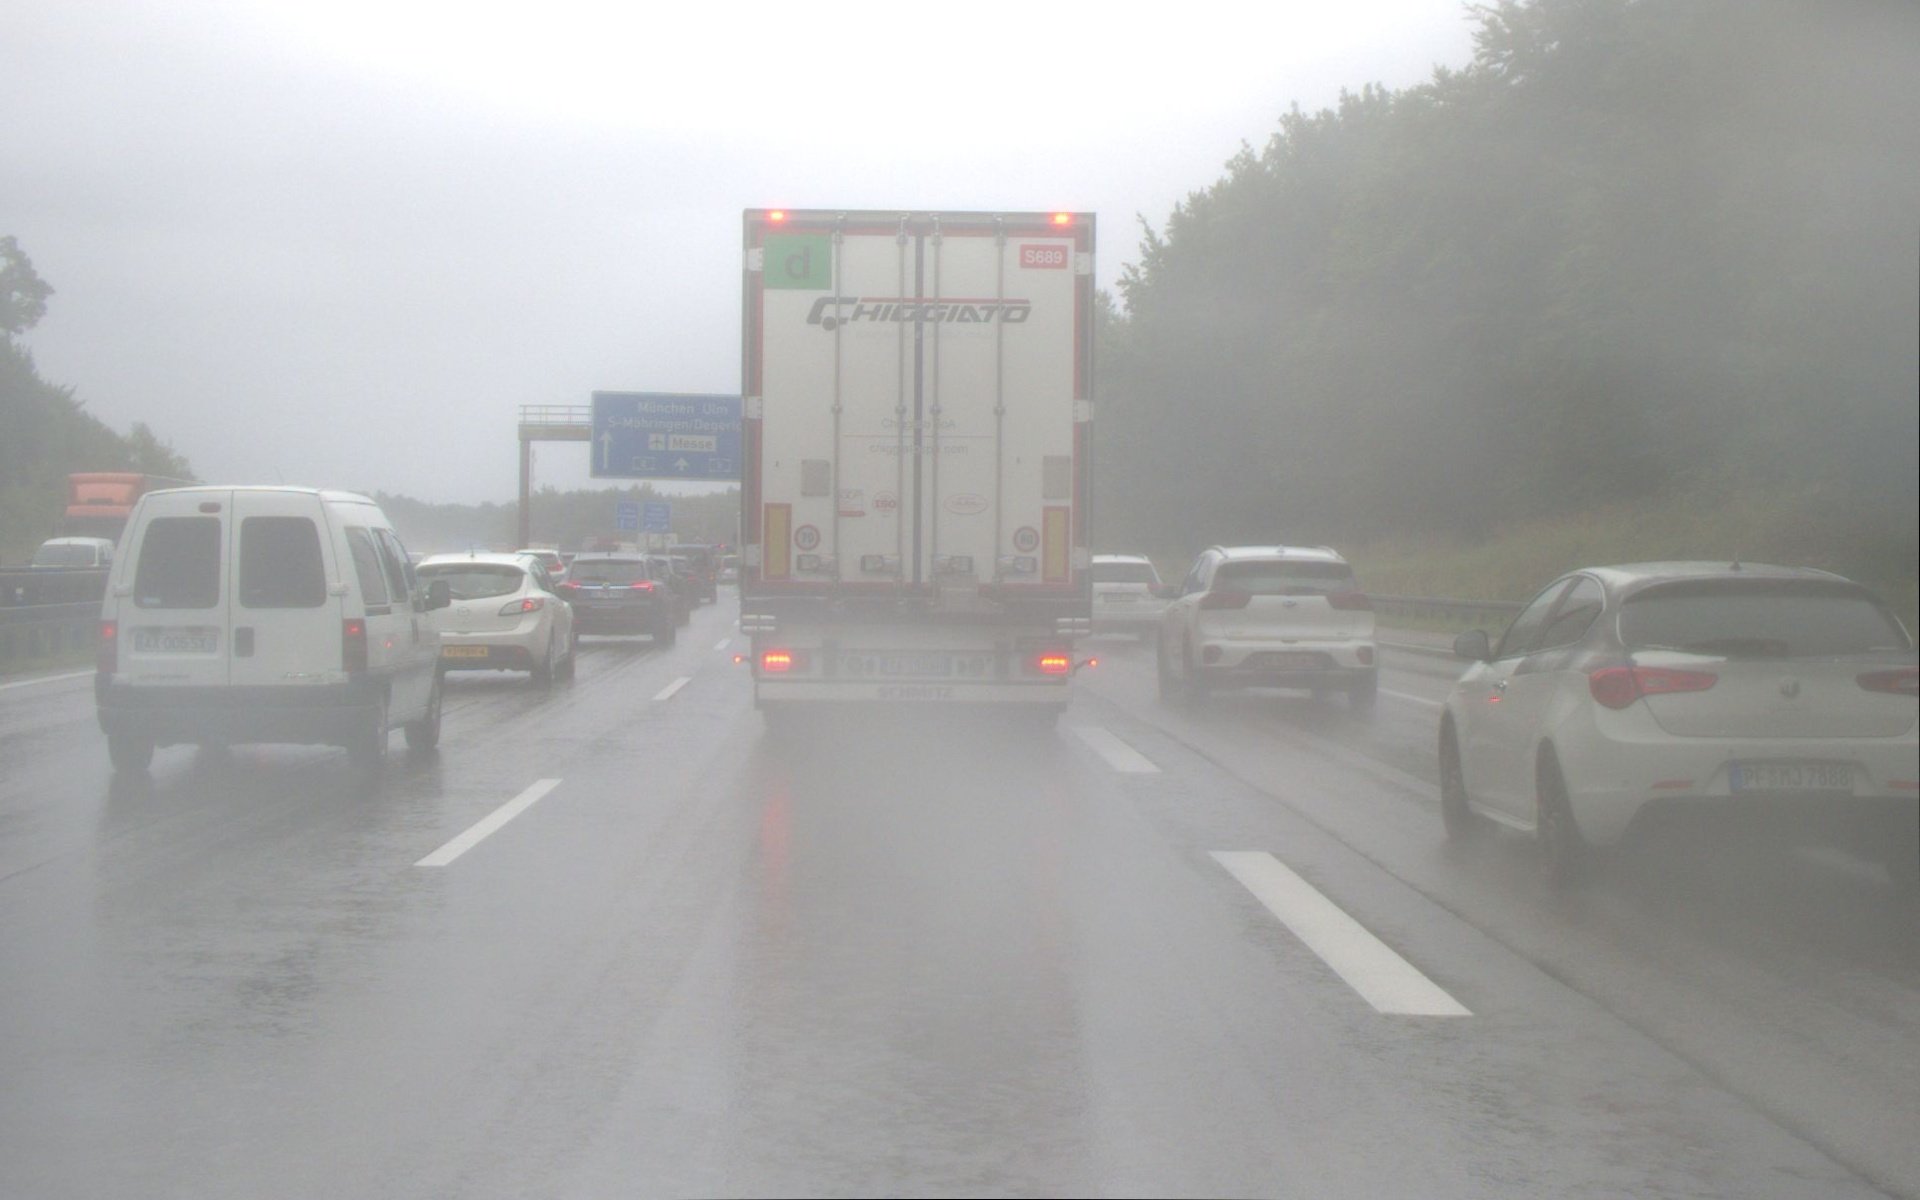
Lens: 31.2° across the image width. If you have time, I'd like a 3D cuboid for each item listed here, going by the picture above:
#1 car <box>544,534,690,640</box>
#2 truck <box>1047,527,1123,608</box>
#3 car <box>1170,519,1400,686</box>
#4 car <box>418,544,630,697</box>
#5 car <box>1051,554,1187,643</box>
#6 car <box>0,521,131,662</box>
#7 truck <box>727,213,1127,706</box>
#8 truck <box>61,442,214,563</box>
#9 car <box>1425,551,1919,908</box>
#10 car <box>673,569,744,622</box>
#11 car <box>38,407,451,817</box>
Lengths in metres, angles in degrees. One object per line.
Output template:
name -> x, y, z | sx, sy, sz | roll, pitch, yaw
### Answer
car -> -5.392, -0.235, 54.468 | 1.845, 1.586, 4.467 | 1, 1, 0
truck -> 4.636, -1.263, 128.896 | 2.589, 2.931, 6.456 | 1, 1, 0
car -> 3.125, -0.022, 33.808 | 1.845, 1.517, 4.344 | 1, 1, 0
car -> -4.825, 0.186, 38.562 | 1.845, 1.586, 4.072 | 1, 1, 0
car -> 2.652, -0.054, 58.328 | 2.007, 1.389, 4.568 | 1, 1, -1
car -> -11.876, -0.171, 42.435 | 2.090, 1.499, 4.755 | 5, 1, -1
truck -> -0.332, -1.070, 30.621 | 2.872, 3.550, 11.303 | 1, 0, -1
truck -> -27.828, -3.270, 116.755 | 2.704, 3.918, 10.028 | 0, 1, 0
car -> 3.465, 0.502, 16.334 | 1.890, 1.420, 4.483 | 1, 1, 0
car -> -6.730, -0.141, 92.280 | 1.845, 1.326, 4.467 | 1, 1, -3
car -> -4.874, 0.027, 24.150 | 2.212, 2.564, 5.016 | 1, 1, -5
